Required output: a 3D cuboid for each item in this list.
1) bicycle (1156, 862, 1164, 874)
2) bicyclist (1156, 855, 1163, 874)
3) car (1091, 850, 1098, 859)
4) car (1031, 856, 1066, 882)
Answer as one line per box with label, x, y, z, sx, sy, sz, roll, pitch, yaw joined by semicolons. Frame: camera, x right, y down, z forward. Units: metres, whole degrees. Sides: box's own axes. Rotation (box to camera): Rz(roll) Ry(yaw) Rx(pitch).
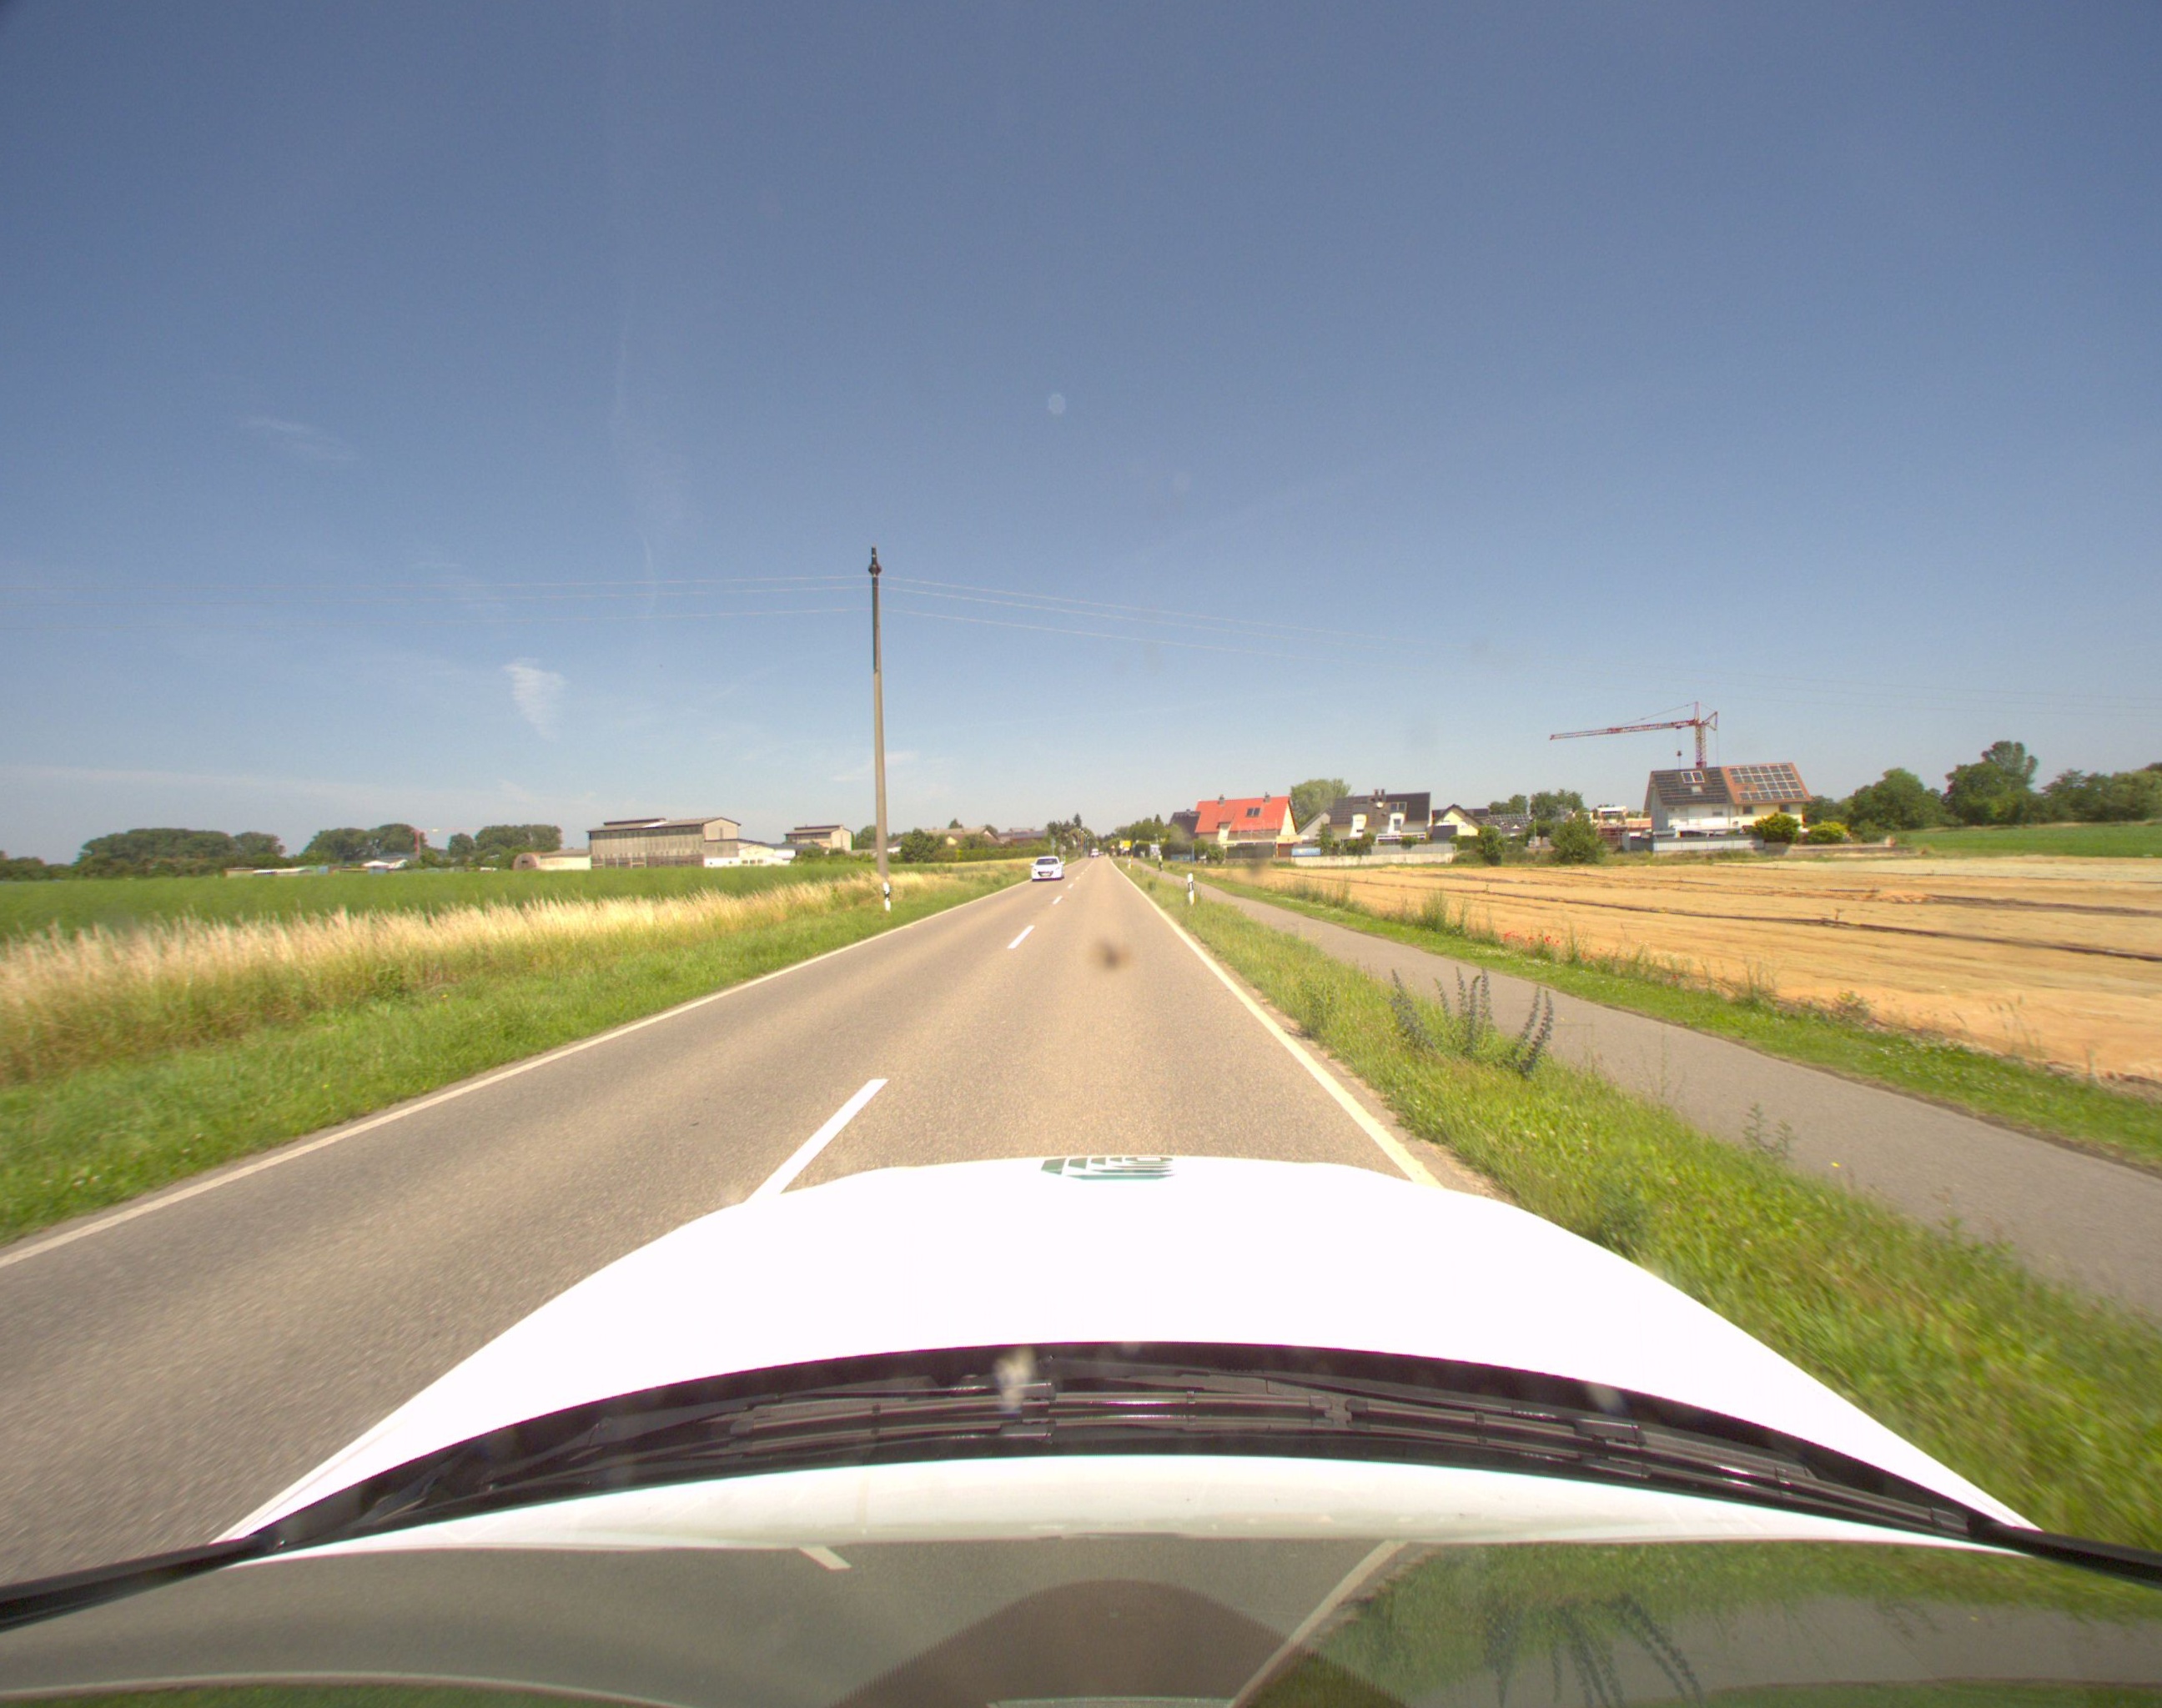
bicycle;7.955;1.429;82.267;0.608;1.158;2.274;0;1;1
bicyclist;7.950;1.055;82.133;0.642;1.889;0.861;0;1;1
car;4.196;0.077;251.300;2.070;2.542;5.874;-3;0;1
car;-1.960;0.895;49.677;1.785;1.409;4.186;-3;0;1
